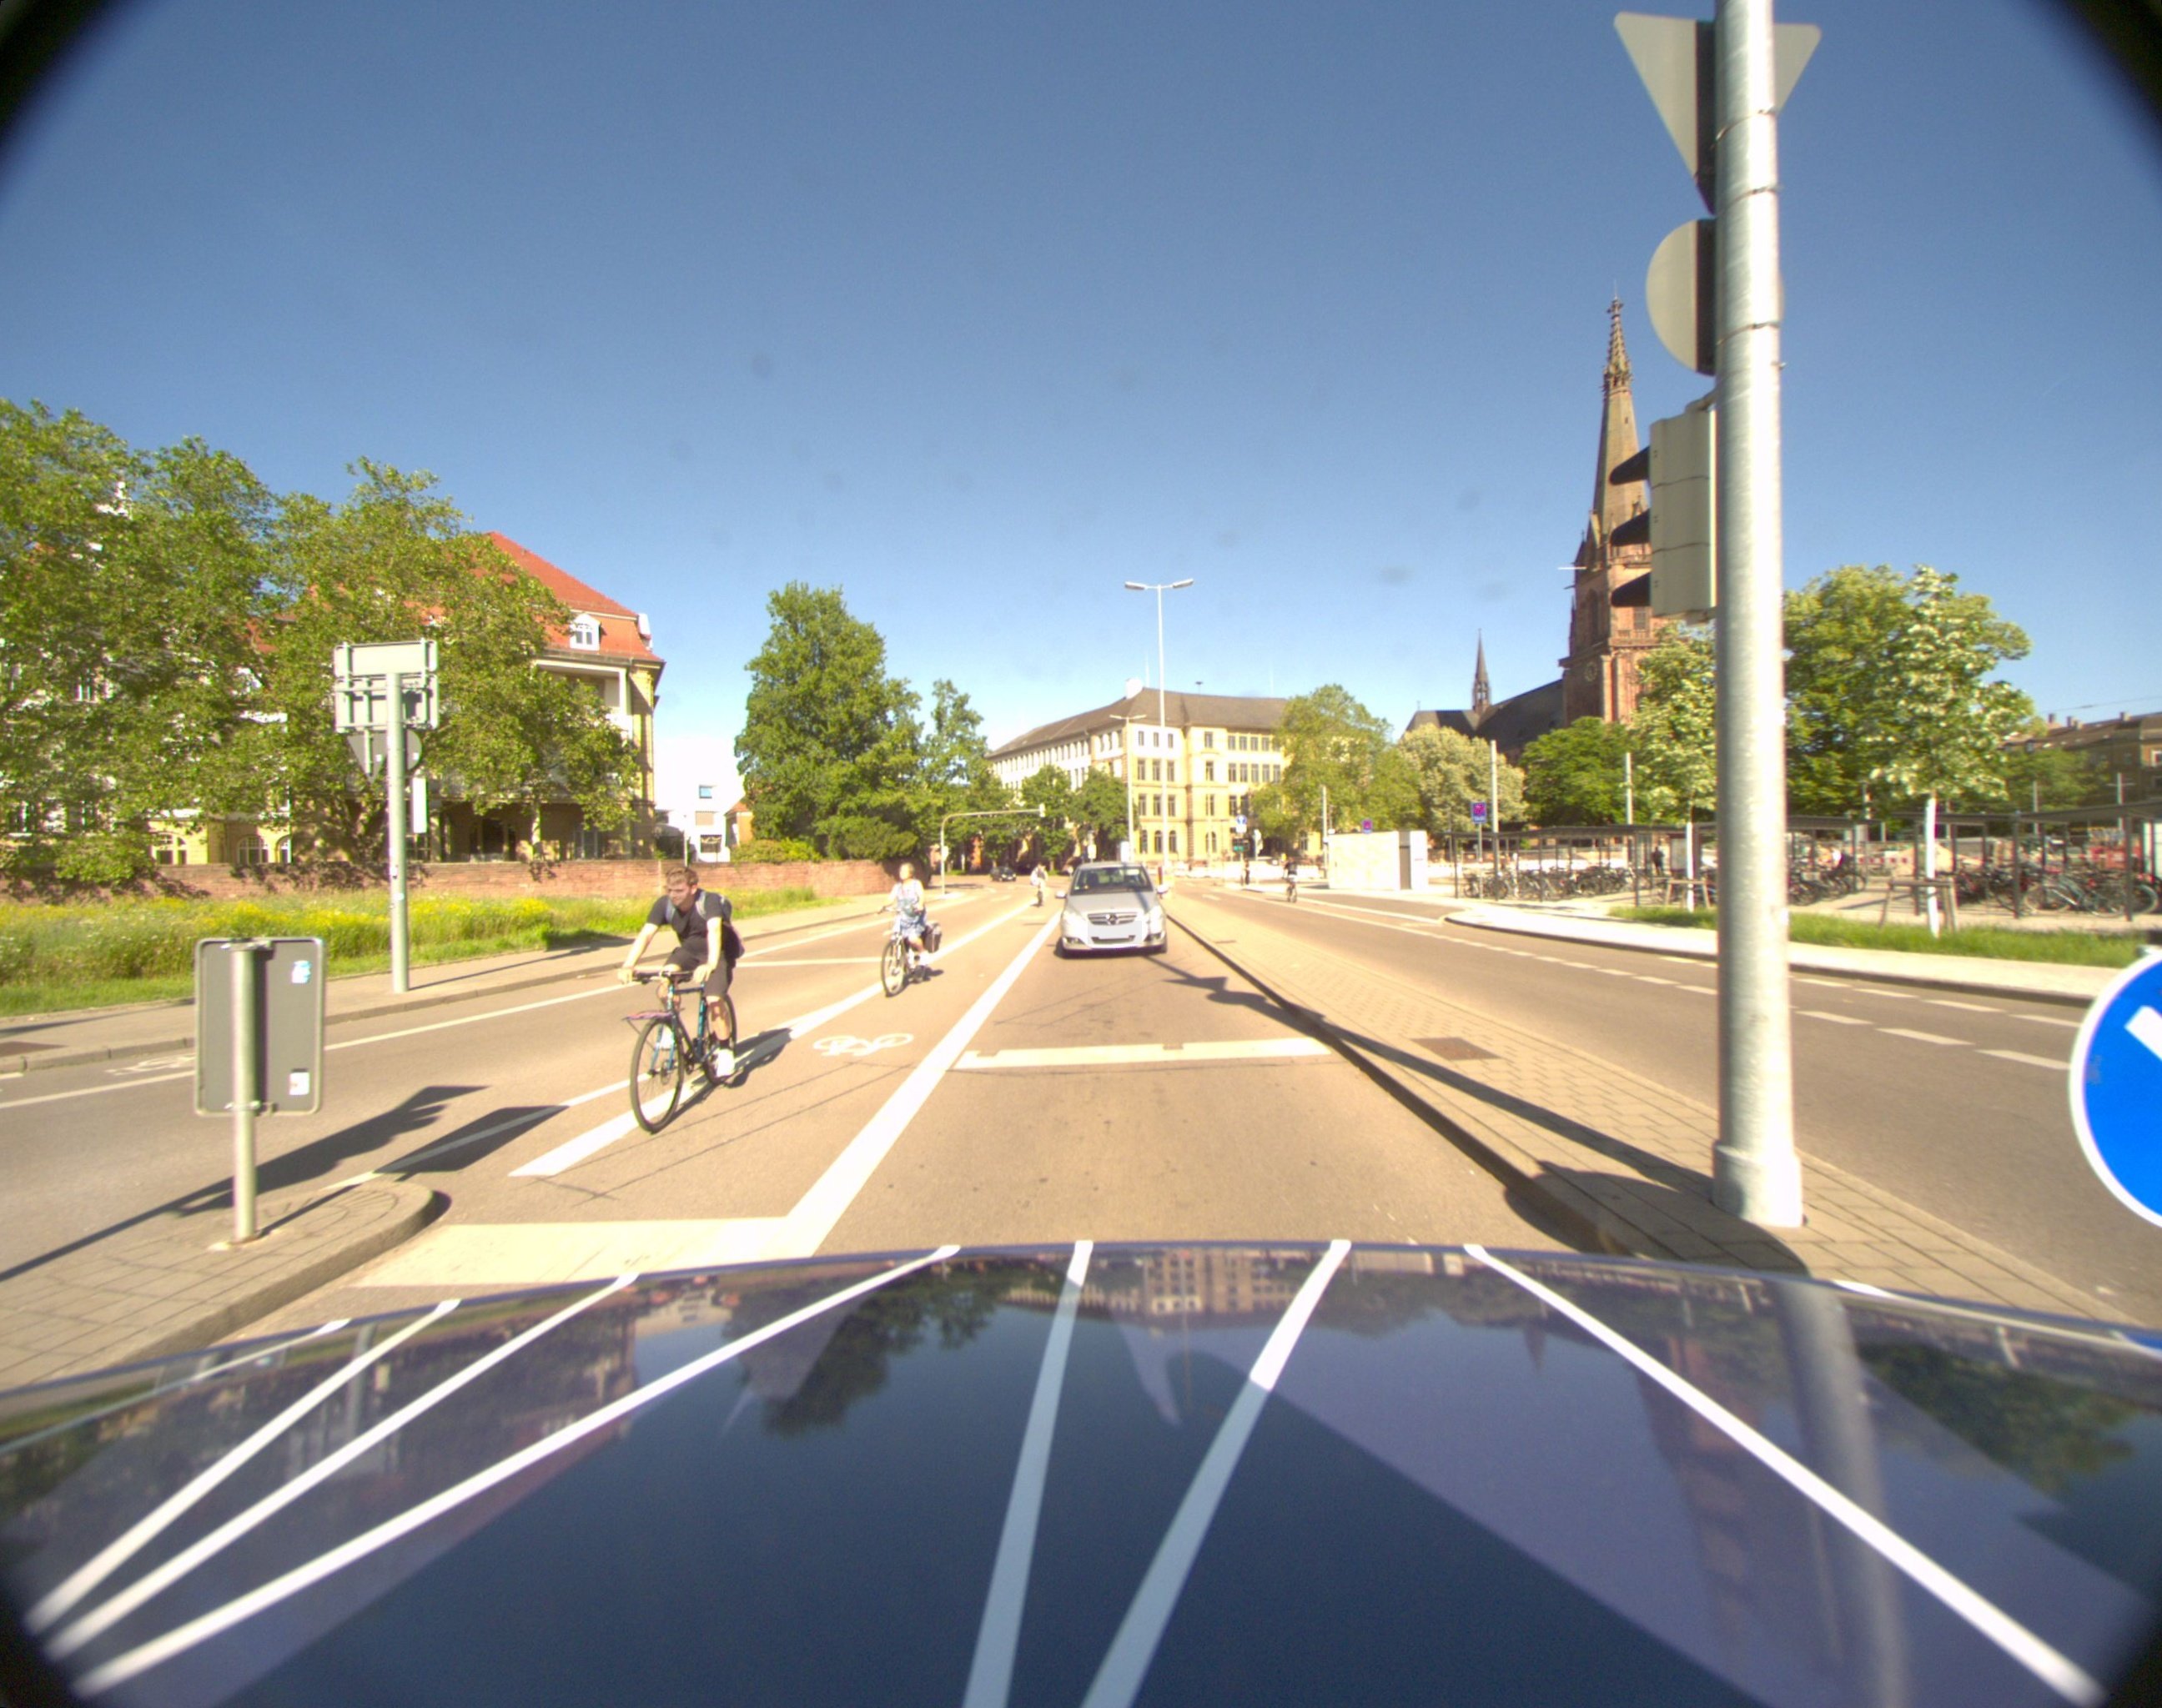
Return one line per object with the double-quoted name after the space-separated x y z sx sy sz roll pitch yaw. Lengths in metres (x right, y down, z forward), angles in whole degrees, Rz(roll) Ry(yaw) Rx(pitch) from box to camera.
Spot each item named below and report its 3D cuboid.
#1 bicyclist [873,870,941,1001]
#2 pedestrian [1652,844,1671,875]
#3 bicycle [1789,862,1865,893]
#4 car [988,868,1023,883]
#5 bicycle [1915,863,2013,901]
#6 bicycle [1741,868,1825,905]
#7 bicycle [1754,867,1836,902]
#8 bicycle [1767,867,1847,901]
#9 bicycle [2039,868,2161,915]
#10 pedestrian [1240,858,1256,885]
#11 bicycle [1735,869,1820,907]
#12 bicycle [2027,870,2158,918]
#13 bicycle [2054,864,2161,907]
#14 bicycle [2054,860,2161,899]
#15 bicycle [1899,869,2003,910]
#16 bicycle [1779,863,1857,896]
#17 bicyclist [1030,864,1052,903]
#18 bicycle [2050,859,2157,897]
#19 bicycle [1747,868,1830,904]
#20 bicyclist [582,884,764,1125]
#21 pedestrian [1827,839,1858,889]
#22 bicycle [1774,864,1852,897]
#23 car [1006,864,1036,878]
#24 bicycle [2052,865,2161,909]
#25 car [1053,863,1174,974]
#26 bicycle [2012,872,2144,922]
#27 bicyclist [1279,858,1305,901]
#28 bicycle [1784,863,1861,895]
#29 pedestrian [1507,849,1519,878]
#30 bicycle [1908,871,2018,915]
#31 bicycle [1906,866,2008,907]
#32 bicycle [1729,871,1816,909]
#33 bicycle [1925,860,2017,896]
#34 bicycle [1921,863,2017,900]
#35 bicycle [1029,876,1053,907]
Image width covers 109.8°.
-2.314 1.059 10.181 0.643 1.653 0.776 -2 1 2 "bicyclist"
31.830 0.294 41.643 0.567 1.645 0.518 -4 0 2 "pedestrian"
25.489 0.783 25.980 0.569 1.032 1.783 0 0 -36 "bicycle"
-8.044 2.304 80.859 2.003 1.464 4.289 -4 0 -30 "car"
25.268 0.792 21.765 0.569 1.032 1.783 0 0 -36 "bicycle"
21.075 0.964 22.849 0.569 1.032 1.783 0 0 -36 "bicycle"
22.164 0.931 23.613 0.569 1.032 1.783 0 0 -36 "bicycle"
23.336 0.940 24.441 0.569 1.032 1.783 0 0 -36 "bicycle"
24.275 0.860 18.070 0.569 1.032 1.784 0 0 -28 "bicycle"
10.442 1.082 47.444 0.789 1.671 0.648 -4 0 3 "pedestrian"
20.489 0.987 22.388 0.569 1.032 1.783 0 0 -36 "bicycle"
23.234 0.893 17.495 0.569 1.032 1.783 0 0 -36 "bicycle"
26.571 0.791 19.602 0.569 1.032 1.783 0 0 -36 "bicycle"
28.375 0.682 21.010 0.569 1.032 1.783 0 0 -36 "bicycle"
23.185 0.918 20.285 0.569 1.032 1.783 0 0 -36 "bicycle"
24.453 0.825 25.236 0.569 1.032 1.783 0 0 -36 "bicycle"
-1.638 1.185 31.261 0.778 1.543 0.920 -2 0 2 "bicyclist"
28.895 0.651 21.503 0.569 1.032 1.783 0 0 -36 "bicycle"
21.590 0.948 23.225 0.569 1.032 1.783 0 0 -36 "bicycle"
-2.714 0.945 5.158 0.643 1.435 0.953 -3 0 1 "bicyclist"
27.021 0.353 26.965 0.619 1.713 0.680 -2 0 -37 "pedestrian"
23.953 0.852 24.895 0.569 1.032 1.783 0 0 -36 "bicycle"
-8.647 2.429 109.382 1.994 1.805 3.809 -1 0 44 "car"
25.539 0.805 18.829 0.569 1.032 1.783 0 0 -36 "bicycle"
0.582 1.009 13.847 1.770 1.584 4.639 -2 0 2 "car"
22.360 0.938 17.082 0.569 1.032 1.783 0 0 -36 "bicycle"
8.015 0.959 28.907 0.721 1.611 0.978 0 0 2 "bicyclist"
24.973 0.820 25.602 0.569 1.032 1.783 0 0 -36 "bicycle"
25.963 0.586 45.618 0.537 1.711 0.684 -3 -5 32 "pedestrian"
22.336 0.958 19.284 0.569 1.032 1.783 0 0 -36 "bicycle"
24.008 0.868 20.855 0.569 1.032 1.783 0 0 -36 "bicycle"
20.004 1.025 22.027 0.569 1.032 1.783 0 0 -36 "bicycle"
26.973 0.713 23.052 0.569 1.032 1.783 0 0 -36 "bicycle"
25.866 0.772 22.169 0.569 1.032 1.783 0 0 -36 "bicycle"
-1.625 1.539 31.256 0.778 1.158 1.968 -2 0 2 "bicycle"
